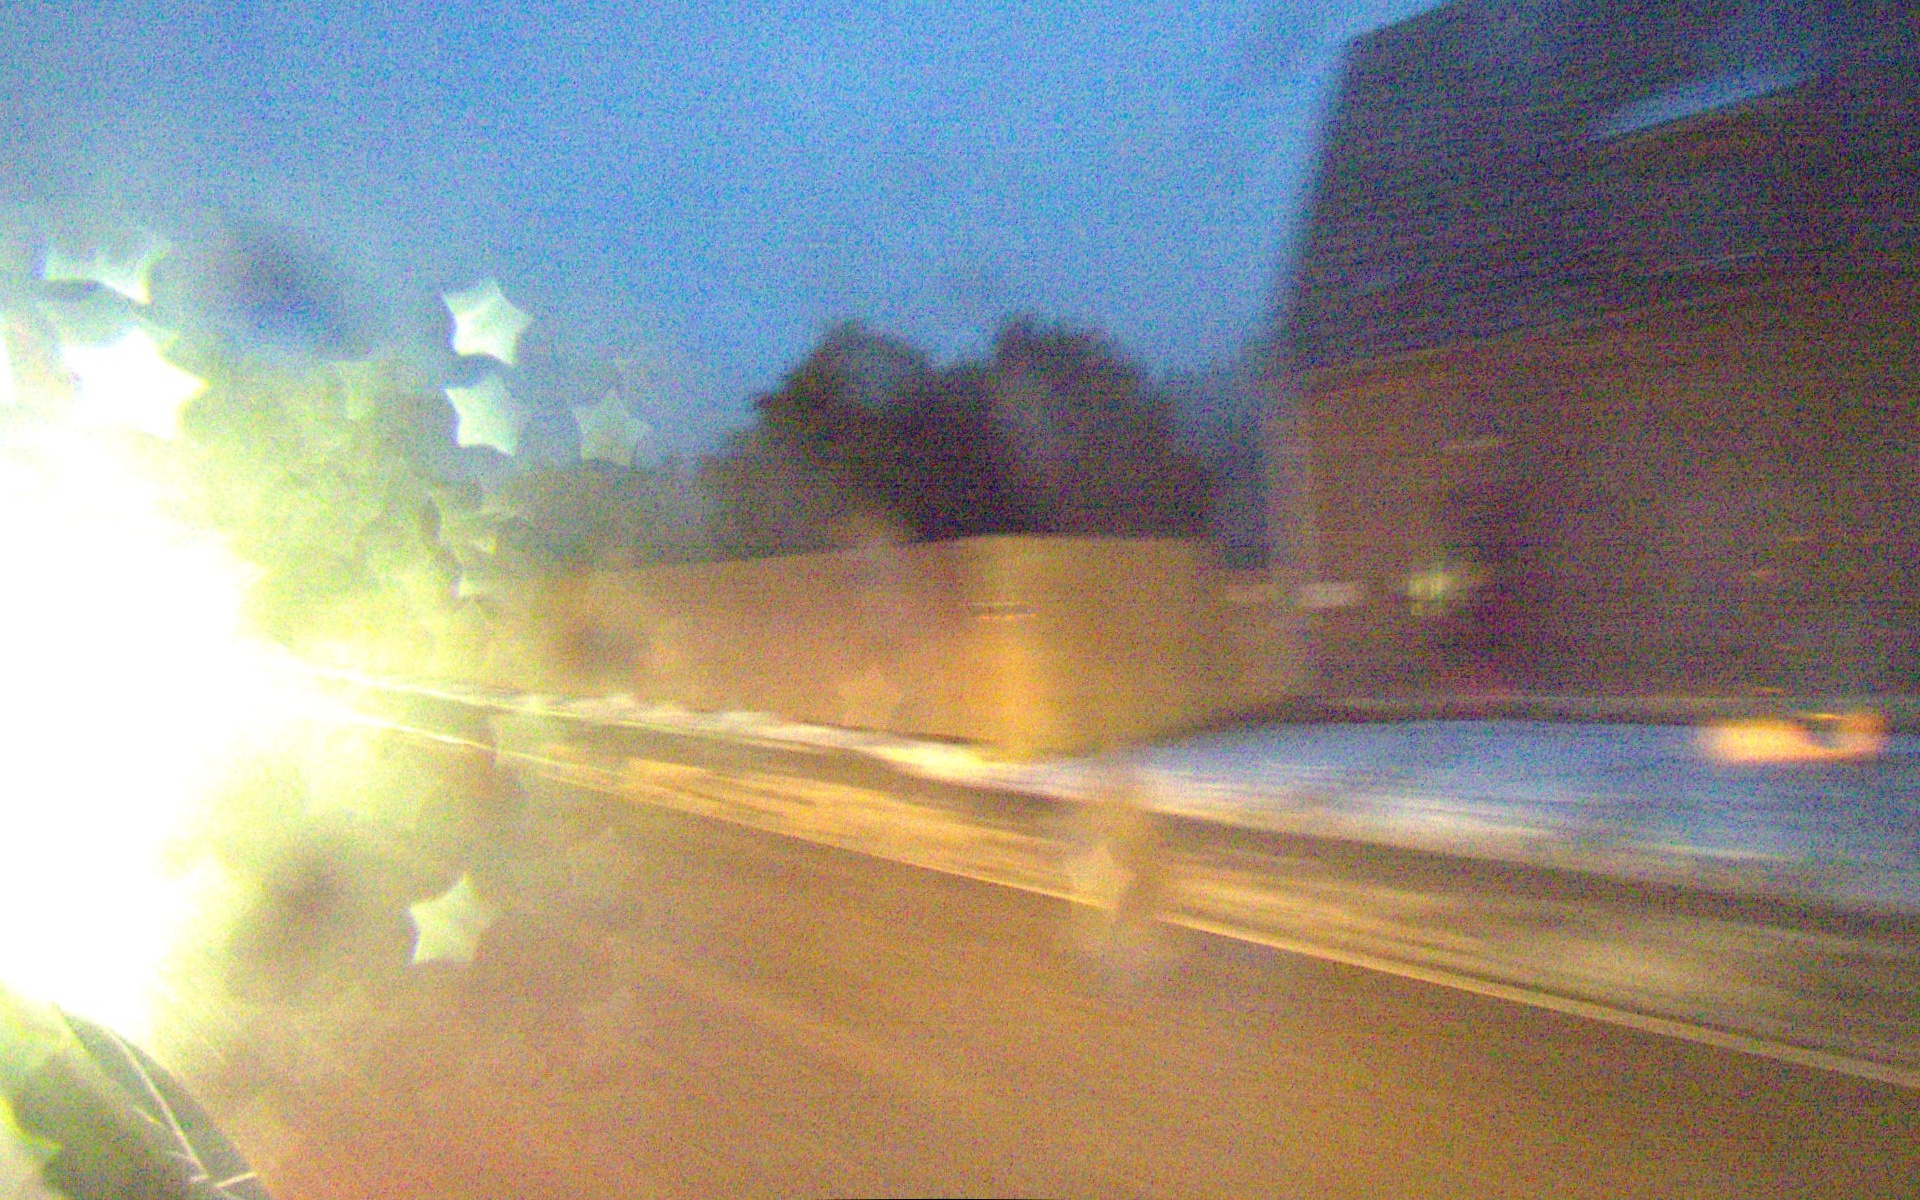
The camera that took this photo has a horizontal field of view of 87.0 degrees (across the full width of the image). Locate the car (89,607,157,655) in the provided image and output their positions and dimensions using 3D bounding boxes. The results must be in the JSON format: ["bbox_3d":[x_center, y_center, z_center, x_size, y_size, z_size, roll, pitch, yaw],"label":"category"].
[{"bbox_3d":[-34.516,1.236,41.710,1.953,1.791,4.005,-3,2,-42],"label":"car"}]

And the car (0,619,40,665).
[{"bbox_3d":[-32.499,1.417,34.107,1.969,1.430,4.007,-3,2,-40],"label":"car"}]
